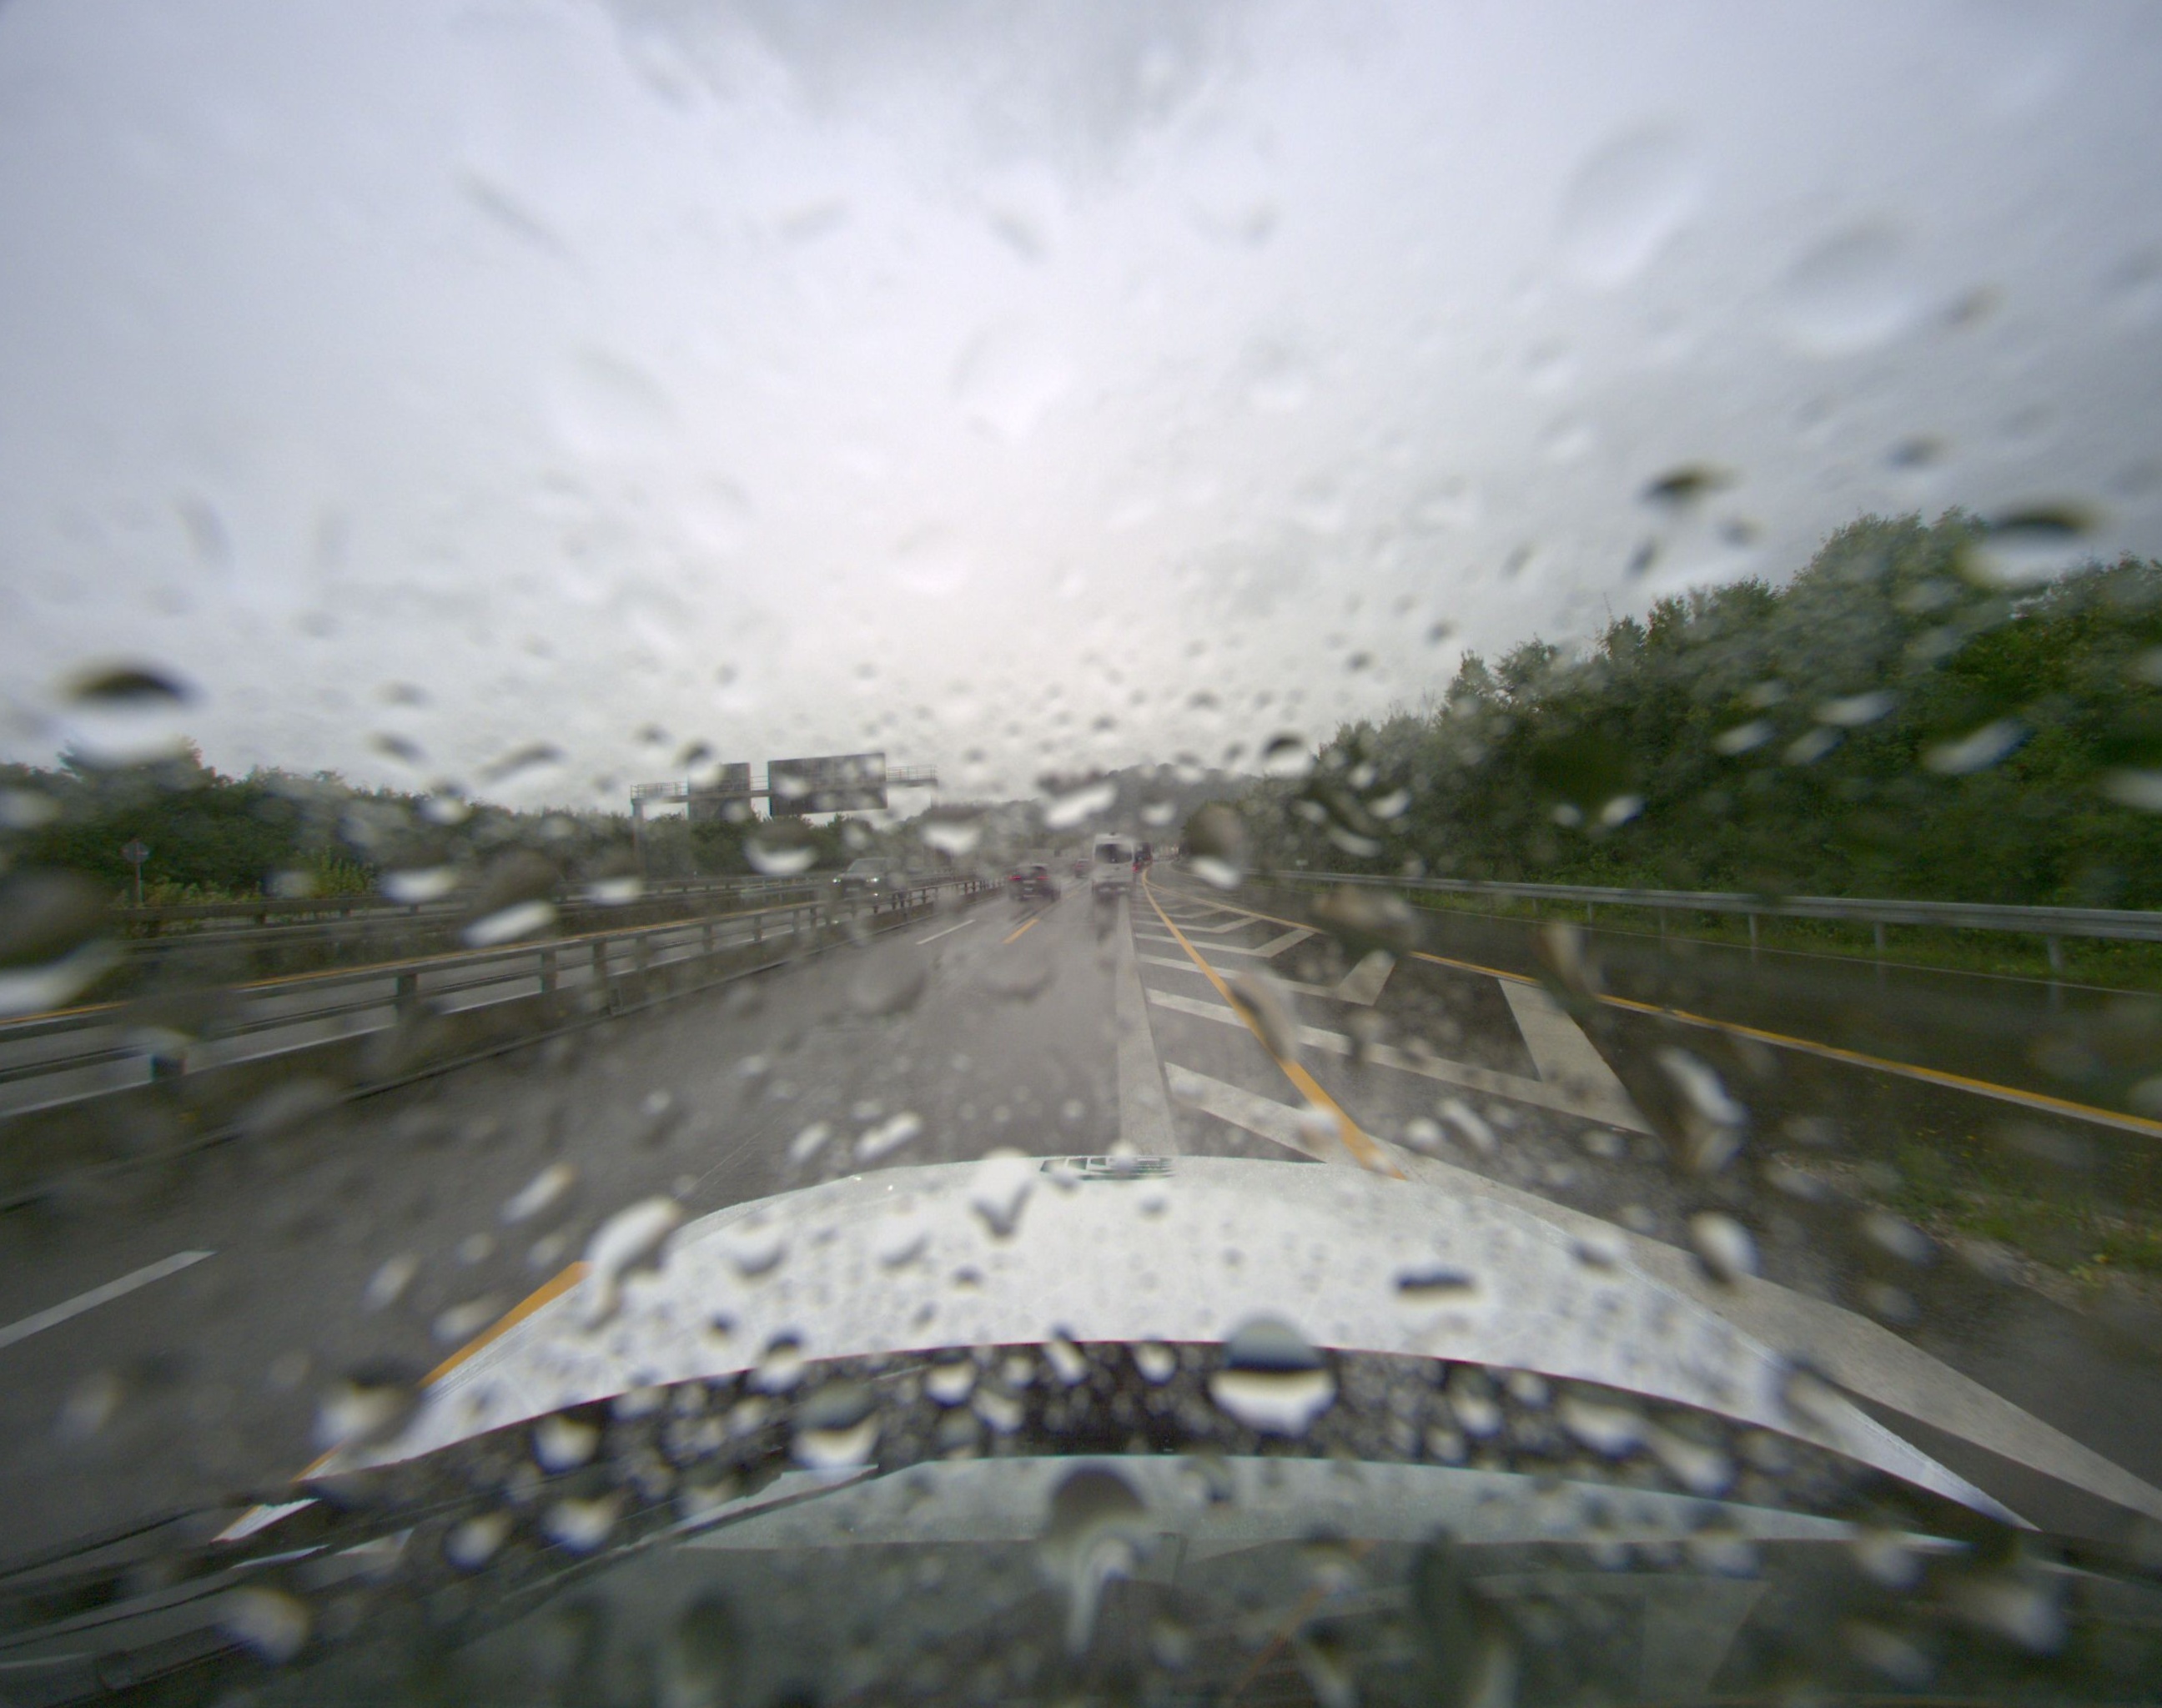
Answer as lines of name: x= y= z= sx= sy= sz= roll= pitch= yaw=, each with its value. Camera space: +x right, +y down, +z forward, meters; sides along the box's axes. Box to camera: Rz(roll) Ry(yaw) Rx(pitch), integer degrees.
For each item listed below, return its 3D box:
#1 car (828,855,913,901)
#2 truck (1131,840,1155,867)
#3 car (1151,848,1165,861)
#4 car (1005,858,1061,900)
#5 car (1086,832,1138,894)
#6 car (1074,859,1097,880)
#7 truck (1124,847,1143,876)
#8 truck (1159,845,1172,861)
car: x=-8.349 y=0.909 z=32.804 sx=1.944 sy=1.717 sz=5.105 roll=0 pitch=-1 yaw=2
truck: x=10.851 y=-0.032 z=141.295 sx=3.562 sy=4.406 sz=9.642 roll=-1 pitch=-1 yaw=7
car: x=17.628 y=0.119 z=186.836 sx=2.882 sy=2.887 sz=6.426 roll=-1 pitch=-1 yaw=8
car: x=-1.838 y=0.948 z=32.358 sx=1.940 sy=1.561 sz=3.999 roll=0 pitch=-1 yaw=0
car: x=1.427 y=0.401 z=36.900 sx=2.136 sy=2.571 sz=5.393 roll=0 pitch=-1 yaw=3
car: x=0.375 y=1.247 z=66.562 sx=1.700 sy=1.627 sz=4.002 roll=0 pitch=-1 yaw=2
truck: x=6.034 y=0.863 z=92.889 sx=1.984 sy=3.109 sz=8.508 roll=0 pitch=-1 yaw=4
truck: x=23.574 y=-0.219 z=227.149 sx=3.018 sy=4.406 sz=9.646 roll=-1 pitch=-1 yaw=9
